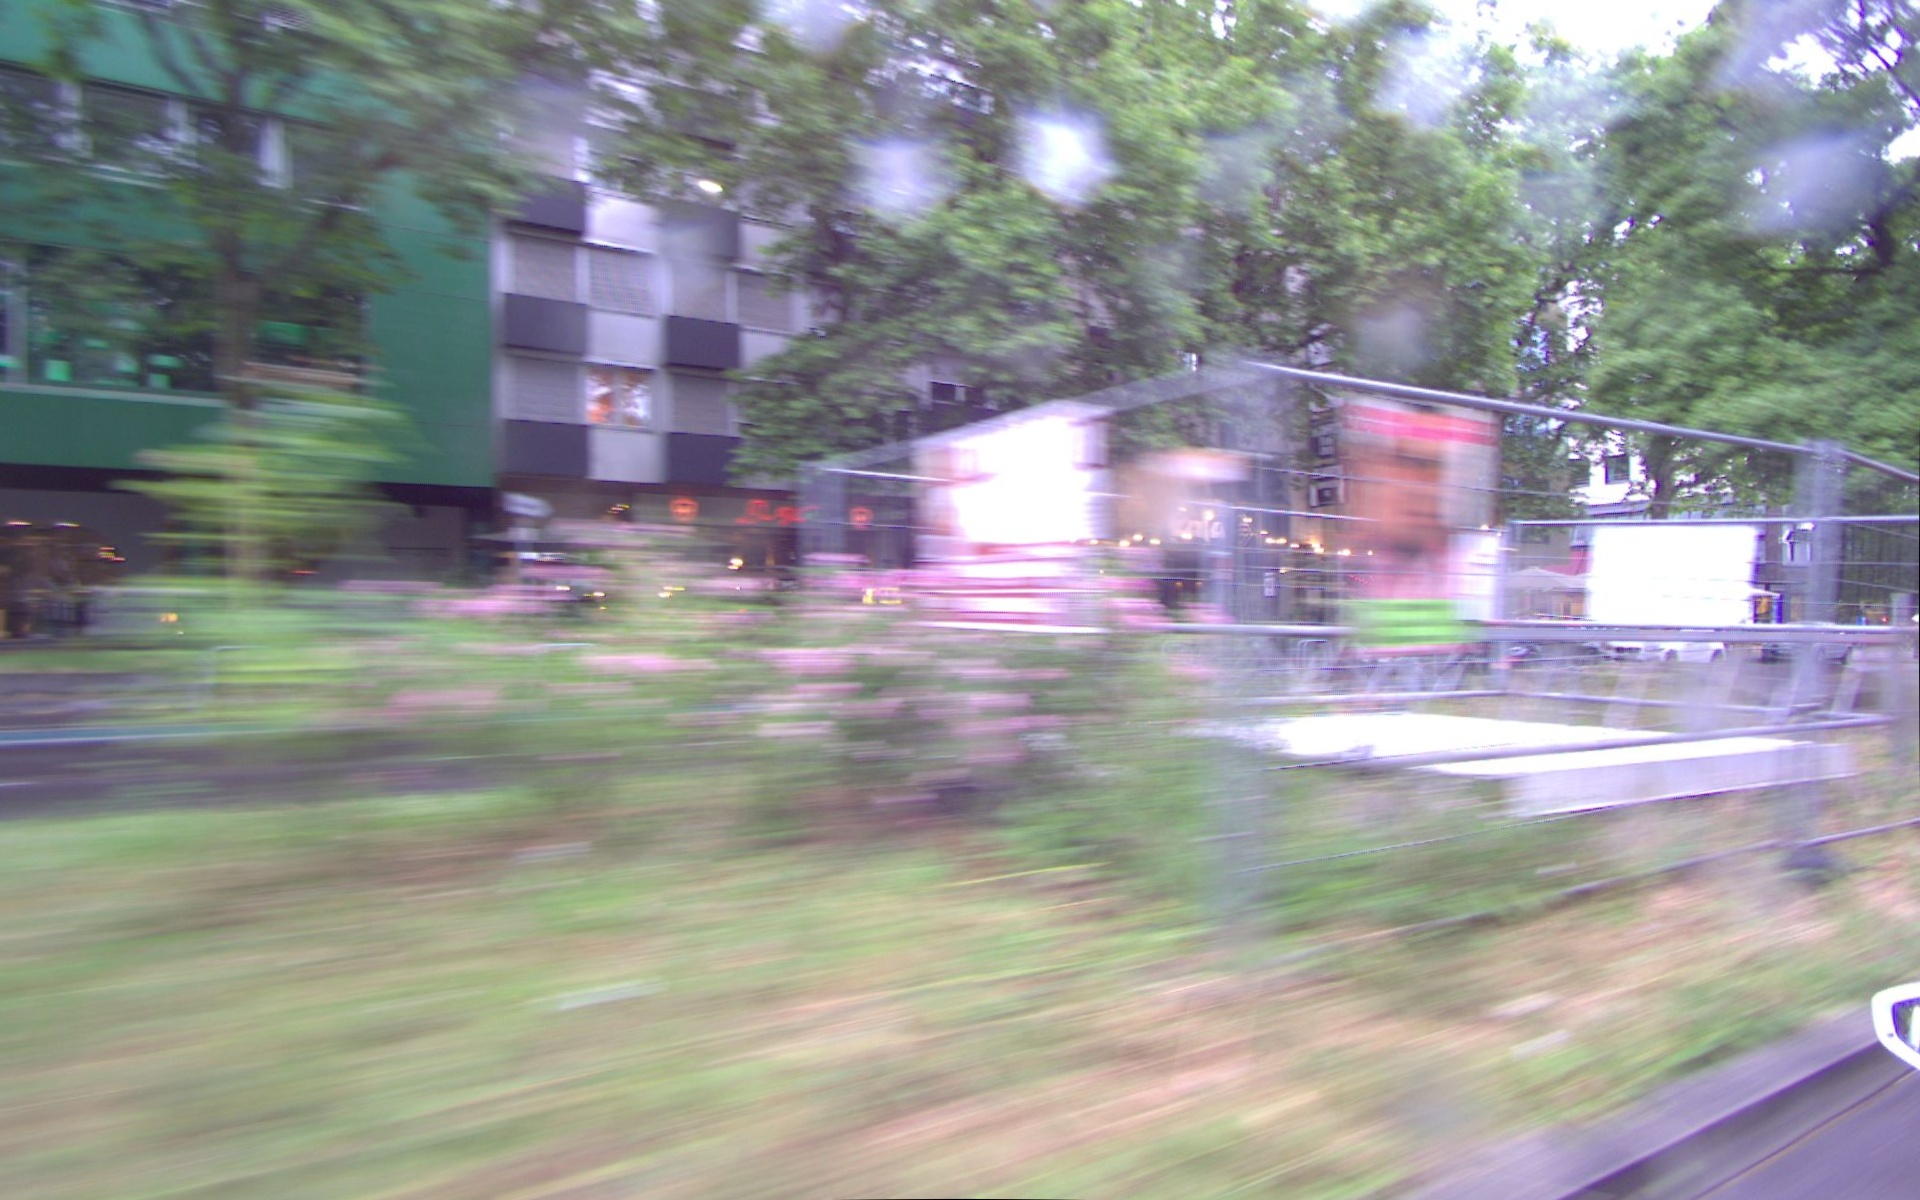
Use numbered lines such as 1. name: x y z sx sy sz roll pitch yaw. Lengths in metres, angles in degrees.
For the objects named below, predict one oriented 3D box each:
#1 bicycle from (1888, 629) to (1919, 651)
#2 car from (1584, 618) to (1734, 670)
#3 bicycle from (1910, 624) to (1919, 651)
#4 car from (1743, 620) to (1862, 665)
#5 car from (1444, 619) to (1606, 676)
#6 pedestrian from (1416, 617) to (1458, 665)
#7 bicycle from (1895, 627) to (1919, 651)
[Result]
1. bicycle: 44.119 1.851 46.341 0.559 0.992 1.834 1 -1 -32
2. car: 21.273 1.288 30.546 4.485 1.388 1.984 1 2 -30
3. bicycle: 45.613 1.765 47.009 0.505 1.258 1.606 1 -1 -36
4. car: 30.173 1.478 35.942 4.468 1.529 1.983 1 -1 -32
5. car: 15.287 1.236 27.136 4.430 1.413 1.817 1 -1 -30
6. pedestrian: 14.275 1.213 30.041 0.923 1.398 0.759 1 0 -33
7. bicycle: 44.874 1.838 46.794 0.609 1.112 1.831 1 -1 -37
